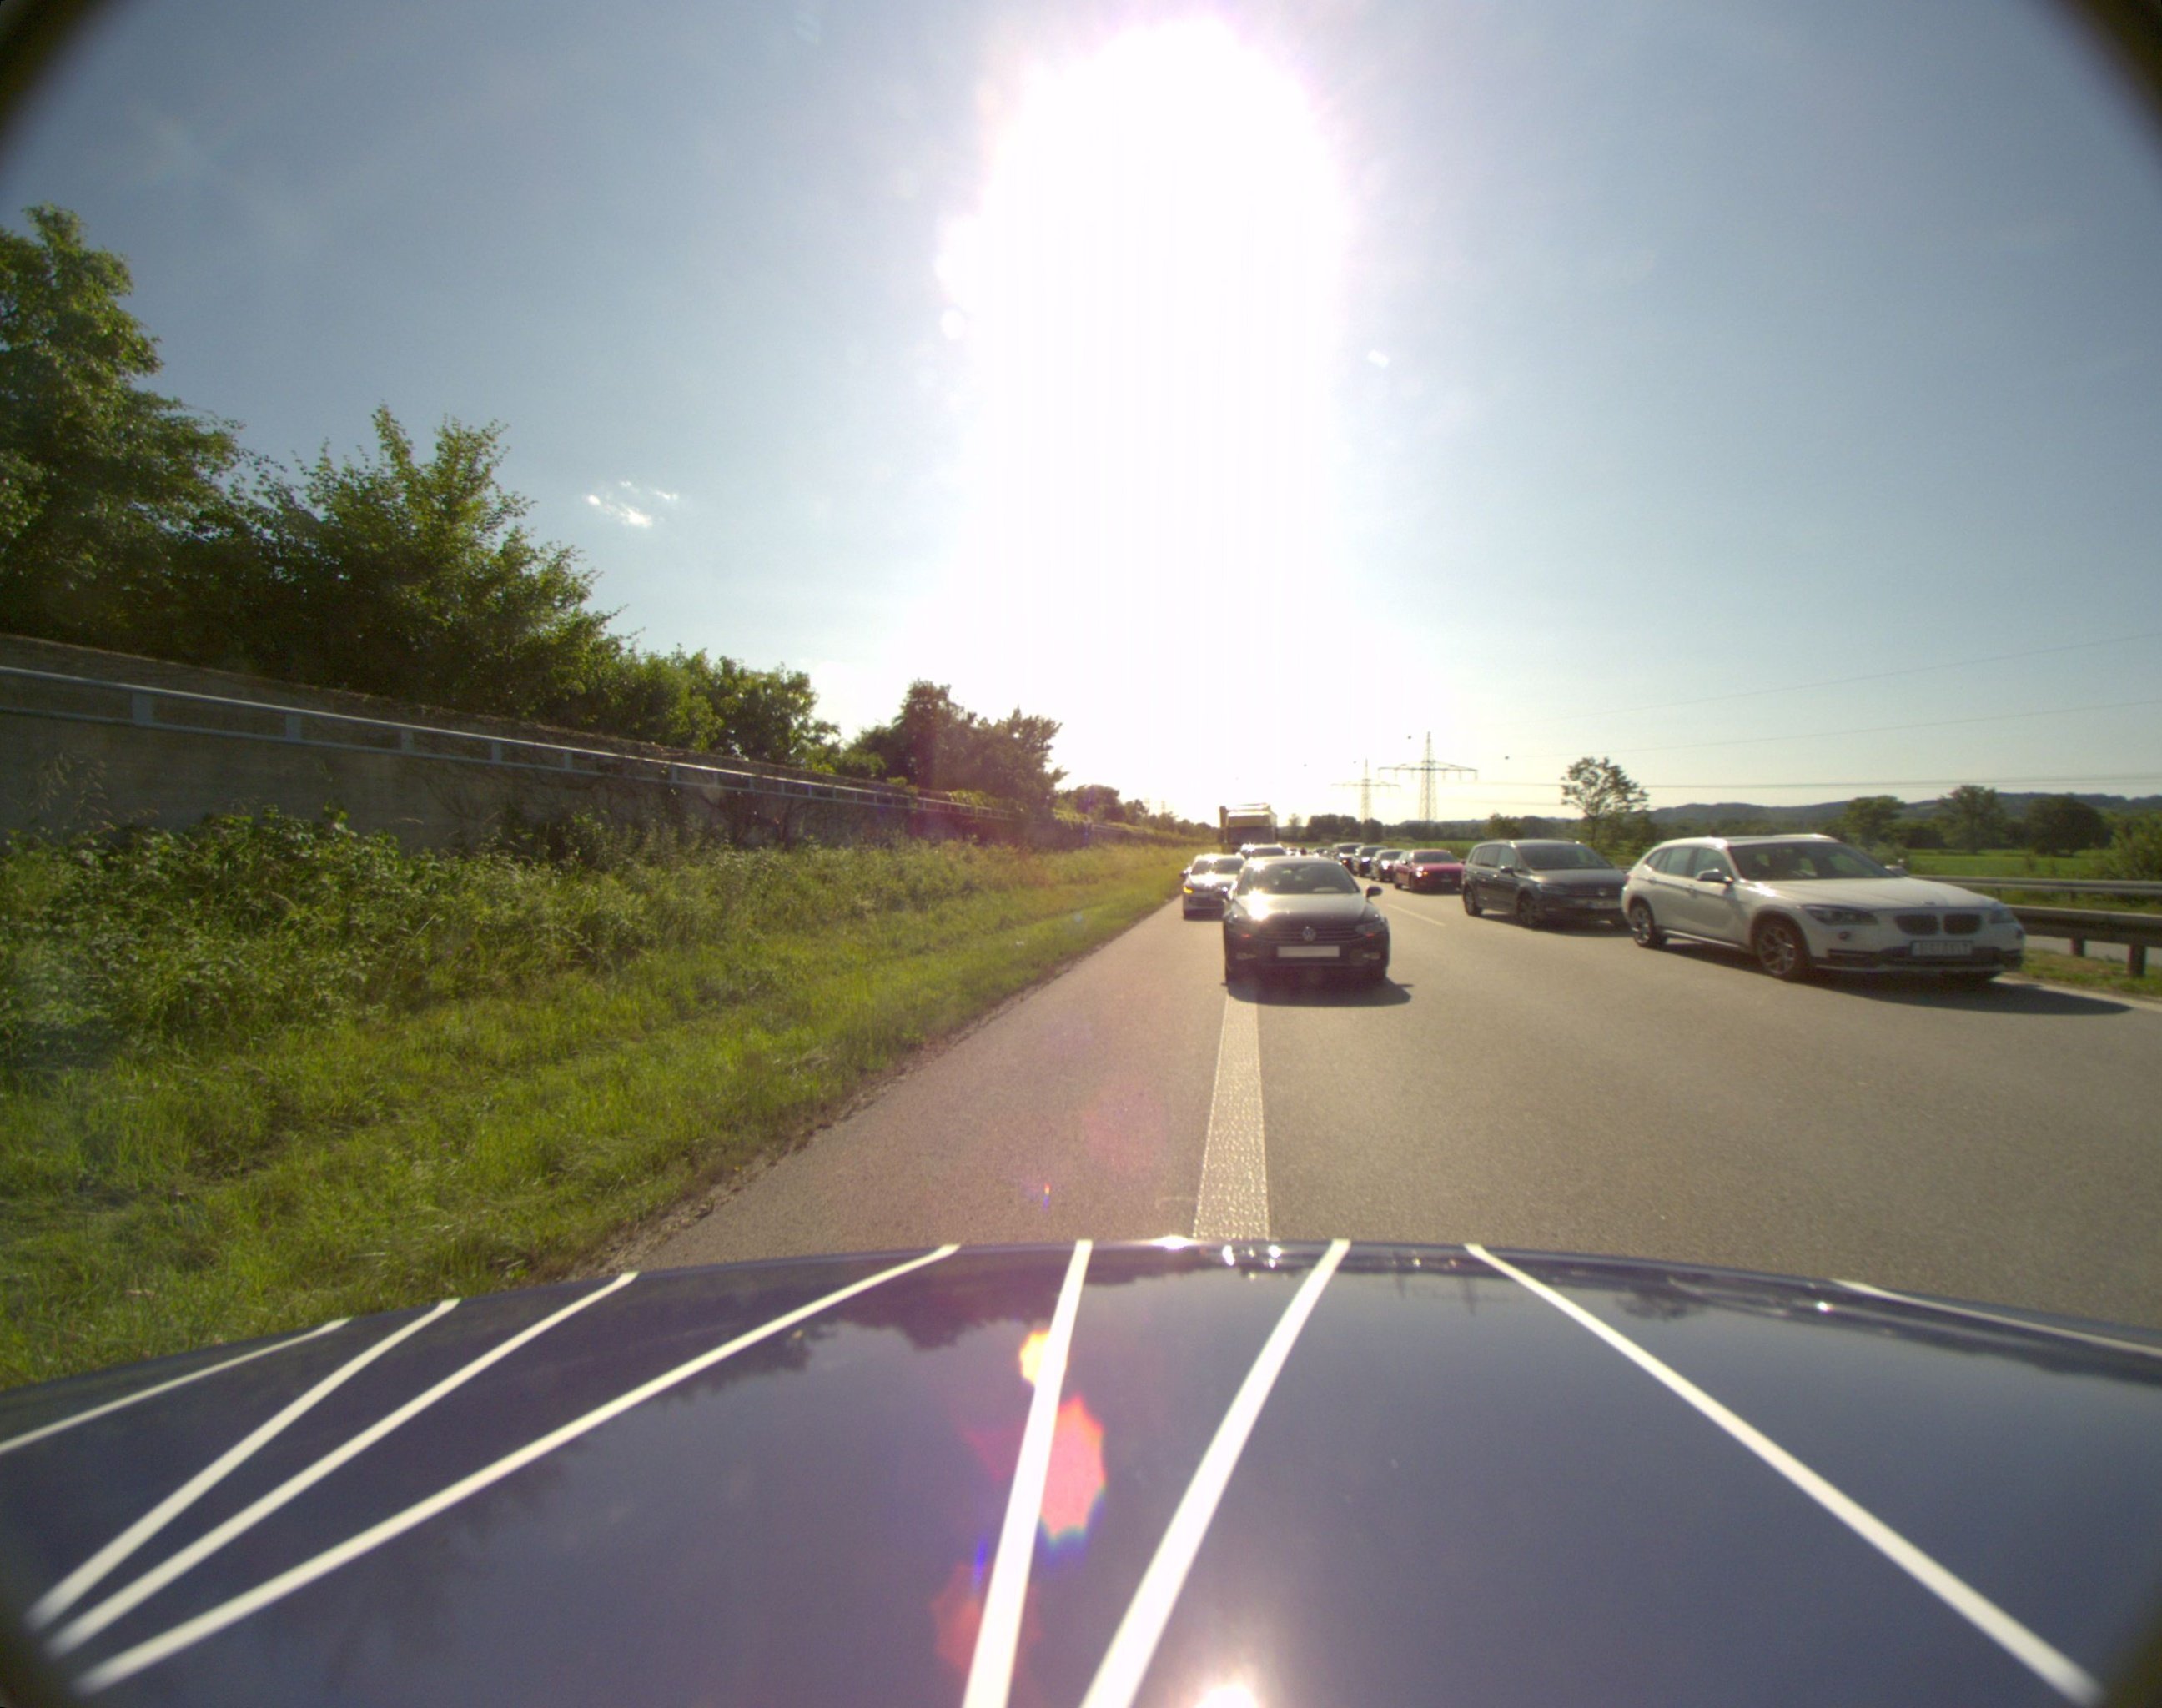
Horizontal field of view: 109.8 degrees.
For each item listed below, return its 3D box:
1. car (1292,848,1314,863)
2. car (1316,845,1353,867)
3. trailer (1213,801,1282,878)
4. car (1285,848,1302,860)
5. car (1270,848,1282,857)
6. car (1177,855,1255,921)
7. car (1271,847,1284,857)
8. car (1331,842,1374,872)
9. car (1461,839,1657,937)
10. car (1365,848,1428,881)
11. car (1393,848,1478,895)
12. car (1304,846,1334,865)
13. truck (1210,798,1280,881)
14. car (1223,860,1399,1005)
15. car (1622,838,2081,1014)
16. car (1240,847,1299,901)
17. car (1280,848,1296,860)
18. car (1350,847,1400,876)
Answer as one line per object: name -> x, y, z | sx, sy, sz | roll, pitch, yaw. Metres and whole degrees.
car -> 22.378, 0.106, 76.741 | 1.818, 1.450, 4.121 | -2, 0, 13
car -> 18.088, 0.134, 54.329 | 1.997, 1.522, 4.003 | 0, 1, 11
trailer -> 10.763, -0.895, 47.905 | 3.384, 4.089, 13.966 | -2, 1, 15
car -> 26.160, -0.036, 93.626 | 1.818, 1.450, 4.121 | 0, 1, 13
car -> 32.691, -0.200, 127.481 | 1.818, 1.450, 4.121 | 0, 1, 13
car -> 3.509, 0.792, 19.369 | 1.715, 1.417, 4.329 | -2, 0, 12
car -> 31.536, -0.325, 121.947 | 1.818, 1.450, 4.121 | -2, 0, 13
car -> 16.847, 0.138, 47.255 | 1.900, 1.777, 4.203 | 0, 1, 11
car -> 8.974, 0.556, 14.706 | 1.818, 1.607, 4.120 | -2, 0, 11
car -> 14.266, 0.458, 34.546 | 1.893, 1.390, 4.003 | 0, 1, 11
car -> 12.061, 0.542, 26.108 | 1.818, 1.450, 4.121 | 0, 1, 13
car -> 19.848, 0.130, 63.464 | 1.997, 1.522, 4.003 | 0, 1, 11
truck -> 9.130, -0.771, 42.012 | 3.330, 4.089, 6.976 | -2, 1, 14
car -> 2.813, 0.836, 9.976 | 1.715, 1.405, 4.329 | -2, 0, 12
car -> 8.445, 0.637, 8.985 | 1.830, 1.564, 4.167 | -1, 0, 12
car -> 6.223, 0.584, 25.409 | 1.715, 1.614, 4.329 | -2, 0, 12
car -> 27.702, -0.046, 101.920 | 1.818, 1.450, 4.121 | -2, 0, 12
car -> 15.606, 0.367, 40.493 | 1.892, 1.447, 4.003 | 0, 1, 12
